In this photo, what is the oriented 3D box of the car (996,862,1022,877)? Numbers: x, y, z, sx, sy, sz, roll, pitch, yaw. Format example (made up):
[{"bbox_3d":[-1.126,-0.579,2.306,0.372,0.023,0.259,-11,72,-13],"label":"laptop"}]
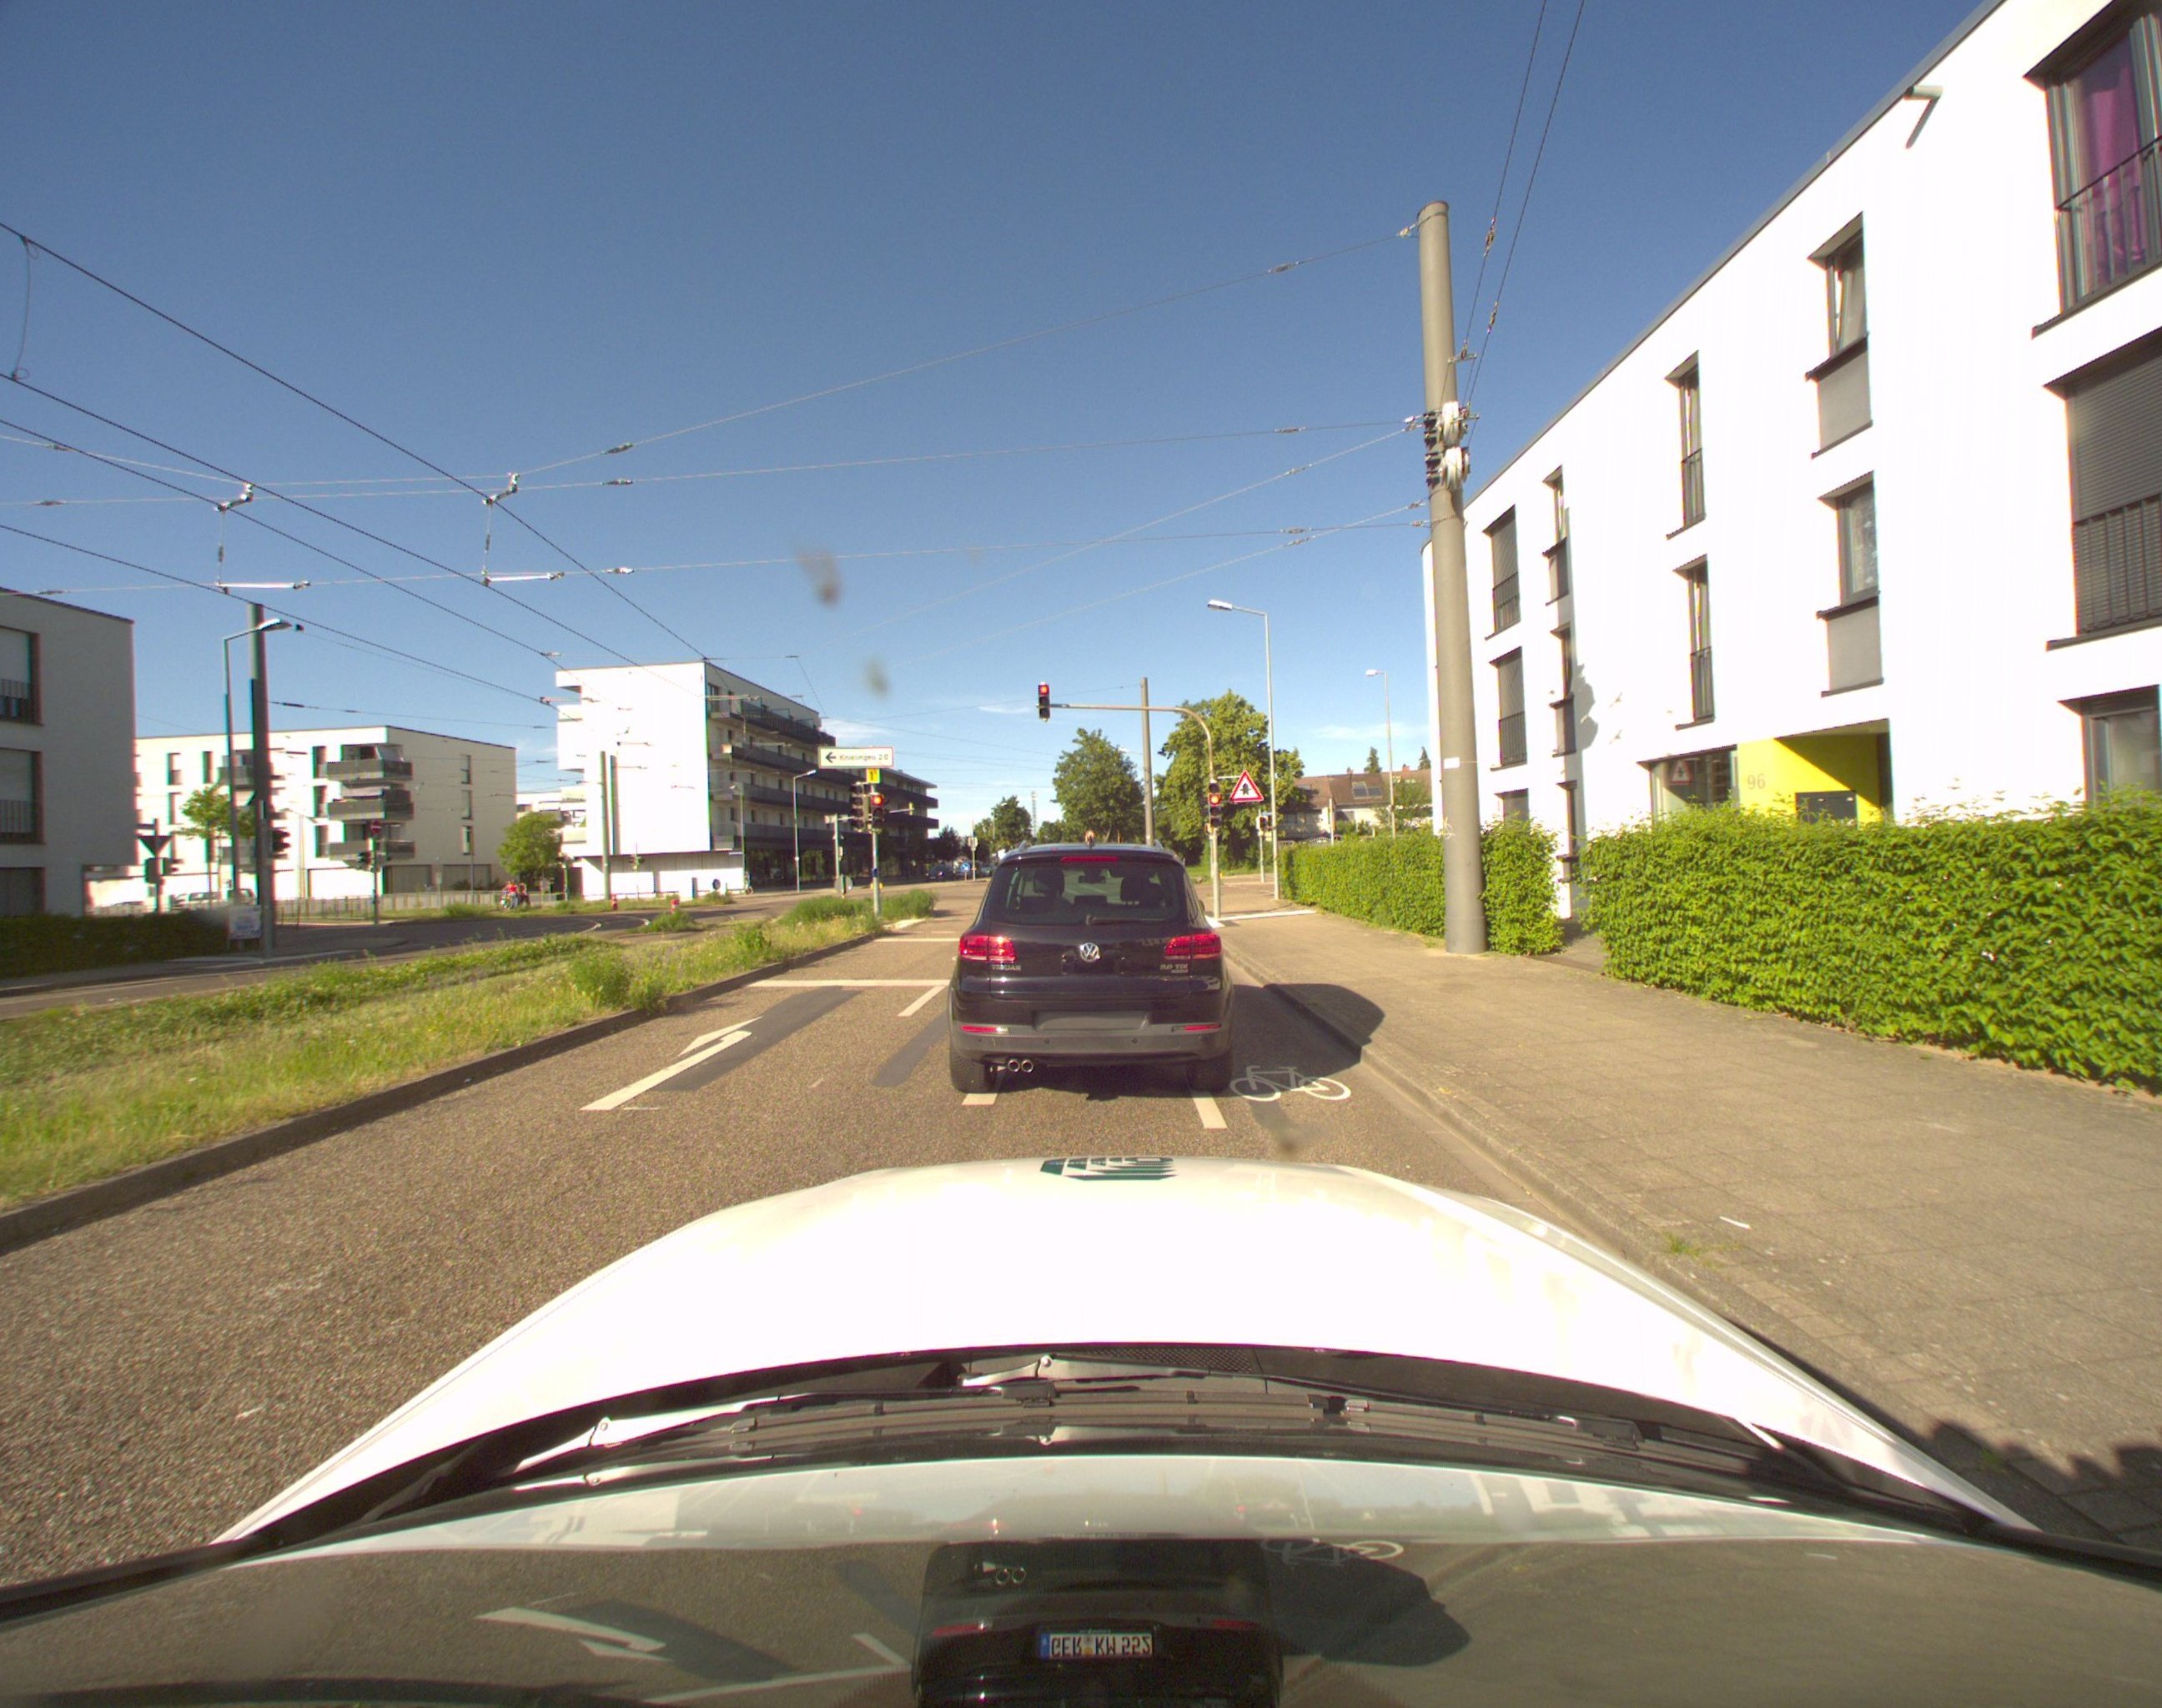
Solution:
[{"bbox_3d":[-8.334,1.782,94.728,1.981,1.574,4.350,-1,-1,9],"label":"car"}]

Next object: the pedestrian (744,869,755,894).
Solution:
[{"bbox_3d":[-23.501,1.916,57.744,0.542,1.744,0.517,0,-1,-4],"label":"pedestrian"}]

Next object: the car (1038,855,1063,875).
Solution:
[{"bbox_3d":[-2.939,1.045,78.770,1.854,1.720,3.693,-2,0,7],"label":"car"}]

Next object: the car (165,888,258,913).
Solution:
[{"bbox_3d":[-58.904,3.148,55.211,4.305,1.574,2.002,0,-1,4],"label":"car"}]

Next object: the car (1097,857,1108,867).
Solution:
[{"bbox_3d":[3.929,1.485,150.973,1.987,1.684,4.000,0,-1,0],"label":"car"}]

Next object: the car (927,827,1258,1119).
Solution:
[{"bbox_3d":[0.125,0.691,6.606,1.862,1.637,4.001,0,-1,2],"label":"car"}]

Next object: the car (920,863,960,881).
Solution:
[{"bbox_3d":[-12.428,1.555,71.928,1.980,1.574,4.353,-1,-1,11],"label":"car"}]

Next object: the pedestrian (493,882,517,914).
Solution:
[{"bbox_3d":[-29.641,2.247,41.916,0.770,1.605,0.741,0,-1,-5],"label":"pedestrian"}]

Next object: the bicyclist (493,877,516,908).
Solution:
[{"bbox_3d":[-30.836,2.062,43.571,0.781,1.614,0.640,0,-1,-4],"label":"bicyclist"}]

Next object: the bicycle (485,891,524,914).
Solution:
[{"bbox_3d":[-30.850,2.595,43.589,0.818,1.124,1.858,0,-1,-4],"label":"bicycle"}]

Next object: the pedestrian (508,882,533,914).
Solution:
[{"bbox_3d":[-28.839,2.242,41.924,0.770,1.605,0.741,0,-1,-5],"label":"pedestrian"}]

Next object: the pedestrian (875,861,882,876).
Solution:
[{"bbox_3d":[-20.119,1.472,80.939,0.642,1.509,0.594,0,-1,-6],"label":"pedestrian"}]

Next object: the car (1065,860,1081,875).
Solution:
[{"bbox_3d":[-1.073,1.746,105.210,1.987,1.836,4.000,0,-1,0],"label":"car"}]

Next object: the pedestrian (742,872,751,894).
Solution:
[{"bbox_3d":[-23.488,2.027,57.205,0.440,1.503,0.517,0,-1,-4],"label":"pedestrian"}]

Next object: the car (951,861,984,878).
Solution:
[{"bbox_3d":[-11.107,1.468,79.766,1.981,1.574,4.350,-1,-1,9],"label":"car"}]

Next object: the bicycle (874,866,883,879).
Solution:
[{"bbox_3d":[-20.134,1.828,80.893,0.629,1.332,1.909,0,-1,-6],"label":"bicycle"}]

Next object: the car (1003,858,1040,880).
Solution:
[{"bbox_3d":[-4.452,1.120,61.626,1.852,1.485,4.121,-3,0,9],"label":"car"}]

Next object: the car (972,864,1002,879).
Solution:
[{"bbox_3d":[-9.932,1.832,86.154,1.981,1.574,4.350,-1,-1,9],"label":"car"}]
